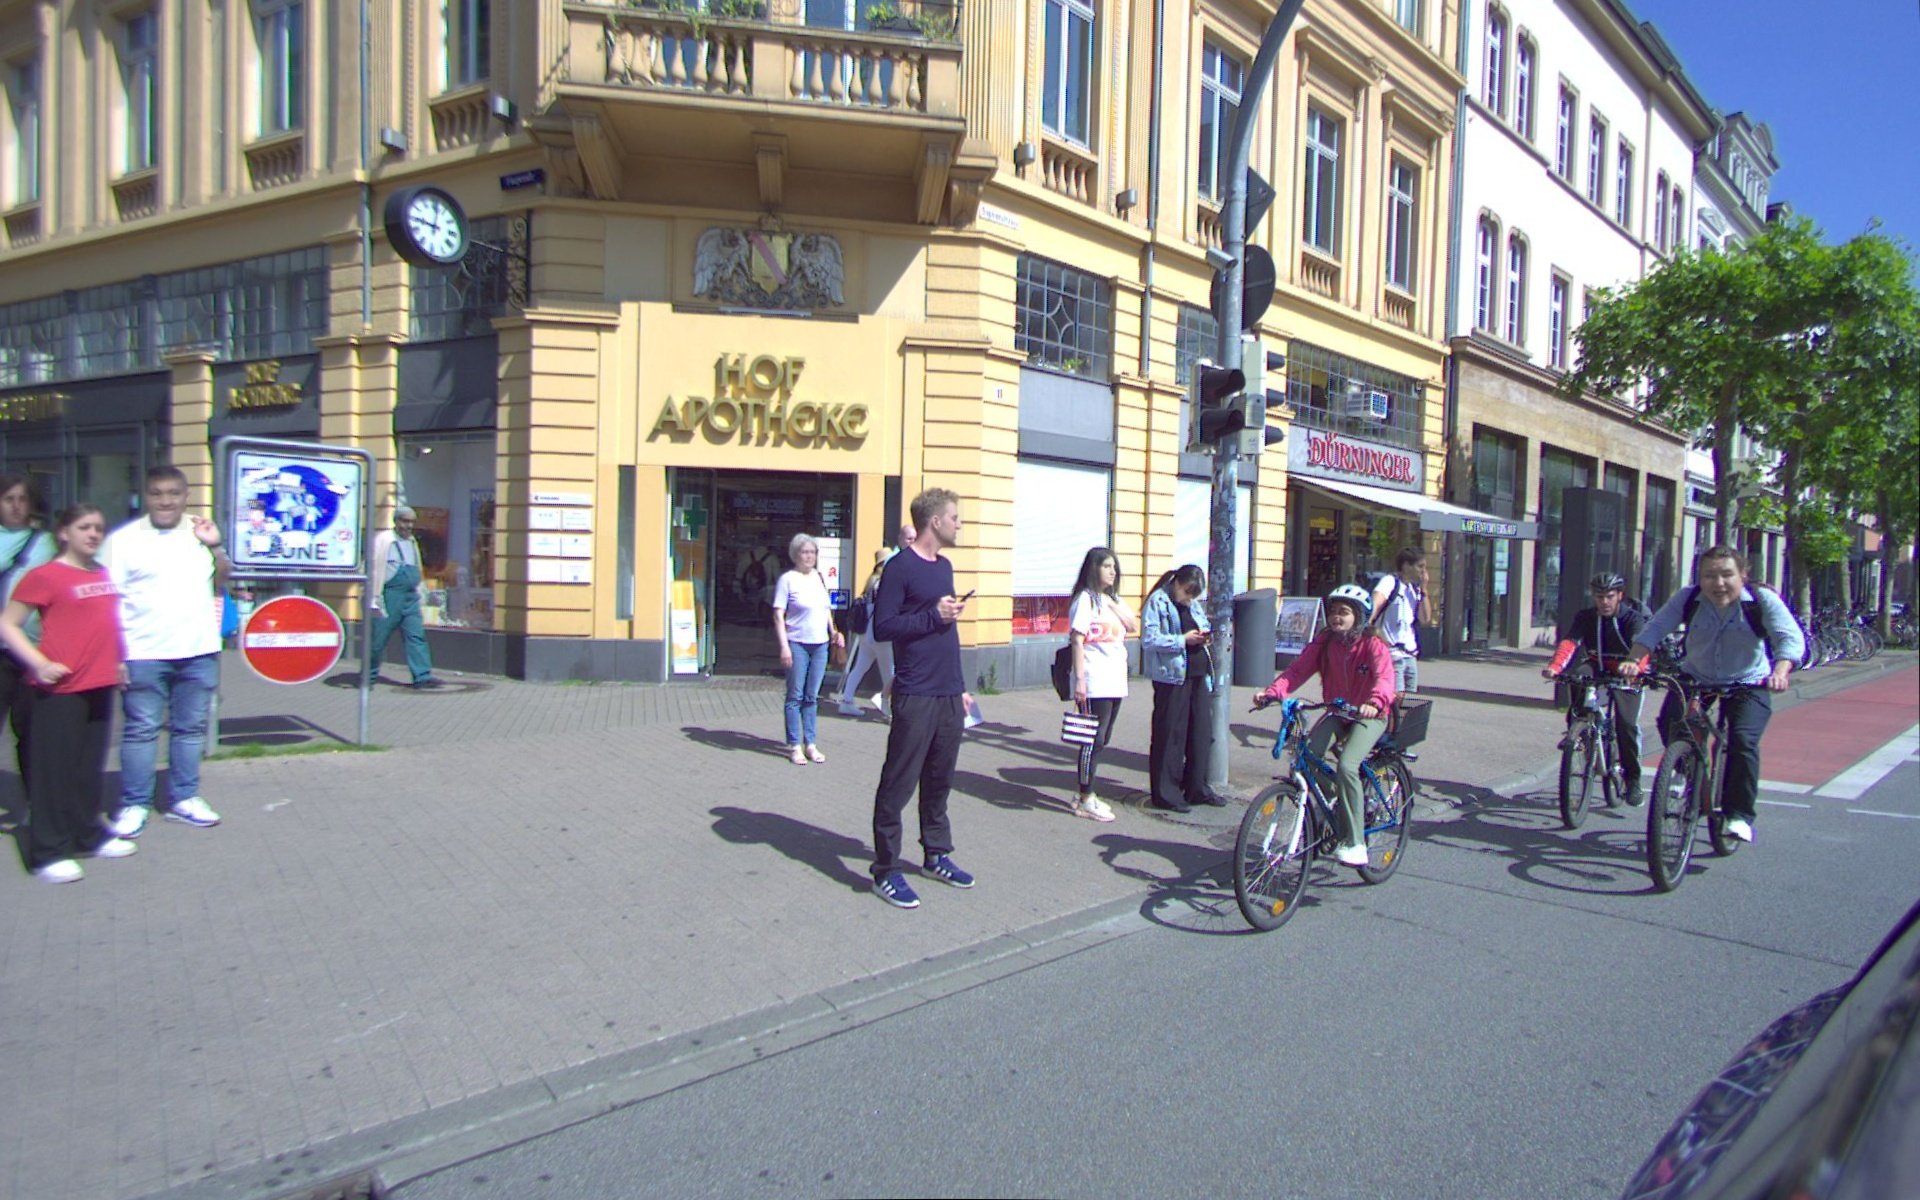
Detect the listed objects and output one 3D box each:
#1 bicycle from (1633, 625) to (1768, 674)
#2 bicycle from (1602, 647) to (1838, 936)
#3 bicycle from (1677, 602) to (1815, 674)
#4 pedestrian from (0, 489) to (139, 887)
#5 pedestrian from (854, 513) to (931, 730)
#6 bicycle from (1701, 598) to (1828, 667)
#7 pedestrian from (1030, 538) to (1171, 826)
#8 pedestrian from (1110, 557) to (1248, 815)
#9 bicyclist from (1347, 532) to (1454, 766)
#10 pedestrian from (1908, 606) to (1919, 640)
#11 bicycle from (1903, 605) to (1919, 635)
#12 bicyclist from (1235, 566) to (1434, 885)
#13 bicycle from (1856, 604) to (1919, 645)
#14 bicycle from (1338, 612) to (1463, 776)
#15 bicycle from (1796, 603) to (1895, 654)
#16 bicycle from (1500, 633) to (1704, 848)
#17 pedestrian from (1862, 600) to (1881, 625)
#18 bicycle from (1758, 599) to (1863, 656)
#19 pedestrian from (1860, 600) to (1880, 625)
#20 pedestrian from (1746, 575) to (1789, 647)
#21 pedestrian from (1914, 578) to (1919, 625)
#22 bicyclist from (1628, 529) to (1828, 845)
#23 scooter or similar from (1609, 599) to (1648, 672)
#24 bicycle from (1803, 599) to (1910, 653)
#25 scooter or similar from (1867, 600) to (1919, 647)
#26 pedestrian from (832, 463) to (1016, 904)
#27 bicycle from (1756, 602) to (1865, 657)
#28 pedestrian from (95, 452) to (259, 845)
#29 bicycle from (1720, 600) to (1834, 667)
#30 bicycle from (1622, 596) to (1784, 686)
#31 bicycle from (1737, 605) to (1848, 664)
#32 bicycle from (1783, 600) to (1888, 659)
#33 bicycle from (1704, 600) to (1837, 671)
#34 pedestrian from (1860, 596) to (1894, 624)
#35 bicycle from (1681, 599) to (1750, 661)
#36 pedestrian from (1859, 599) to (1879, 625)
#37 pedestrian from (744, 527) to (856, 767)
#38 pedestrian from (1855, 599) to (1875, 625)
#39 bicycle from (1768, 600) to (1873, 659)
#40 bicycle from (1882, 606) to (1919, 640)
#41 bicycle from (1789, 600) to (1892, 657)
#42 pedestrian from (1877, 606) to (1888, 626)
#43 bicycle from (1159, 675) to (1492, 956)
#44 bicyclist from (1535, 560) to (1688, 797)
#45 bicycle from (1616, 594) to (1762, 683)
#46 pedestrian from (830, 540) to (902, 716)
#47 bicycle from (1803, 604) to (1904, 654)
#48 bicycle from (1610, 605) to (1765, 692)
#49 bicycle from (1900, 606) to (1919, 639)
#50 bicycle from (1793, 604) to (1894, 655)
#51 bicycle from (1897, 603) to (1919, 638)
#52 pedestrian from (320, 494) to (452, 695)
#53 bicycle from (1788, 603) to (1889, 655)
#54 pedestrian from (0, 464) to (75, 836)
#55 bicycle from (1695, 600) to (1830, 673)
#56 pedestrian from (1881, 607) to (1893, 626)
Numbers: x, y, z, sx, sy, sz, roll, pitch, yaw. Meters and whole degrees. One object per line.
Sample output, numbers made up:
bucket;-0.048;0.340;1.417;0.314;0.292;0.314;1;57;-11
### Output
bicycle;13.022;0.862;17.862;1.833;0.724;0.652;2;1;29
bicycle;4.058;0.871;5.332;2.047;1.141;0.699;0;0;-45
bicycle;14.239;0.659;18.375;0.647;1.178;1.849;1;1;-38
pedestrian;-3.988;0.347;4.407;0.630;1.631;0.524;0;3;-41
pedestrian;-0.579;0.166;8.877;0.541;1.823;0.588;2;2;5
bicycle;15.621;0.602;19.697;0.465;1.216;1.849;1;1;-38
pedestrian;0.853;0.460;6.193;0.578;1.650;0.550;0;3;-38
pedestrian;1.402;0.511;6.495;0.630;1.539;0.524;0;3;-38
bicyclist;3.651;0.366;8.449;0.567;1.819;0.853;4;3;14
pedestrian;36.468;0.868;38.326;0.566;1.258;0.788;-1;2;-43
bicycle;39.243;0.817;40.716;1.760;1.212;0.573;2;1;23
bicyclist;1.790;0.535;4.840;0.708;1.374;0.601;0;2;-42
bicycle;28.326;0.728;30.515;0.657;1.201;1.846;0;0;-35
bicycle;3.634;0.712;8.480;0.593;1.095;1.832;4;3;14
bicycle;21.338;0.673;24.428;0.395;1.122;1.733;1;1;-38
bicycle;4.305;0.830;6.711;2.047;1.141;0.699;0;0;-45
pedestrian;48.141;0.667;53.461;0.598;1.268;0.640;-1;4;-43
bicycle;19.063;0.603;22.714;0.469;1.176;1.733;1;1;-38
pedestrian;47.709;0.645;53.061;0.523;1.268;0.682;1;3;-43
pedestrian;18.796;0.241;23.561;0.731;1.632;0.616;1;1;-40
pedestrian;35.397;0.054;37.037;0.829;1.711;0.639;2;-1;-43
bicyclist;4.011;0.399;5.275;0.945;1.464;0.699;0;0;-44
scooter or similar;11.611;0.593;17.589;0.418;1.192;1.220;2;1;28
bicycle;23.008;0.638;26.005;0.723;1.264;1.937;1;1;-38
scooter or similar;26.934;0.670;28.833;0.656;1.290;1.481;0;0;-29
pedestrian;-0.175;0.351;4.789;0.630;1.921;0.524;0;3;-38
bicycle;18.739;0.635;22.320;0.596;1.108;1.733;1;1;-38
pedestrian;-3.978;0.216;5.144;0.630;1.845;0.524;0;3;-41
bicycle;16.008;0.635;19.867;0.465;1.216;1.653;1;1;-38
bicycle;11.542;0.606;15.809;1.923;1.273;0.698;2;1;31
bicycle;17.127;0.694;20.860;0.596;1.108;1.653;1;1;-38
bicycle;19.974;0.651;23.121;0.469;1.232;1.733;1;1;-38
bicycle;15.179;0.636;18.992;0.535;1.216;1.849;1;1;-38
pedestrian;50.311;0.544;55.525;0.823;1.502;1.253;0;2;-43
bicycle;15.507;0.606;20.764;1.621;1.202;0.475;1;1;-29
pedestrian;47.327;0.619;52.685;0.523;1.355;0.682;1;2;-43
pedestrian;-1.175;0.312;7.410;0.578;1.660;0.550;0;3;-38
pedestrian;46.835;0.621;52.359;0.523;1.349;0.682;1;1;-43
bicycle;19.492;0.648;22.945;0.469;1.232;1.733;1;1;-38
bicycle;32.799;0.800;34.517;0.779;1.110;1.846;1;1;-35
bicycle;20.504;0.642;23.597;0.469;1.232;1.733;1;1;-38
pedestrian;47.905;0.826;52.542;0.429;0.980;0.342;1;1;-39
bicycle;1.845;0.920;4.904;2.051;0.937;0.601;-1;2;-42
bicyclist;4.361;0.479;6.768;0.777;1.459;0.699;0;0;-44
bicycle;11.785;0.588;16.433;1.811;1.325;0.682;2;1;30
pedestrian;-0.882;0.242;9.544;0.541;1.588;0.588;2;2;5
bicycle;22.000;0.686;24.942;0.723;1.122;1.733;1;1;-38
bicycle;10.904;0.697;15.222;0.553;1.136;1.784;1;2;-43
bicycle;34.185;0.802;35.396;0.487;1.141;1.848;0;0;-29
bicycle;21.048;0.688;24.141;0.395;1.122;1.733;1;1;-38
bicycle;34.866;0.757;36.214;0.660;1.212;1.847;1;1;-33
pedestrian;-5.562;-0.069;9.828;0.800;1.846;0.779;1;2;26
bicycle;20.716;0.661;23.896;0.469;1.122;1.733;1;1;-38
pedestrian;-4.606;0.220;4.857;0.526;1.723;0.524;0;3;-41
bicycle;14.781;0.640;18.692;0.597;1.216;1.849;1;1;-38
pedestrian;48.461;0.847;52.897;0.429;0.980;0.365;1;1;-39
